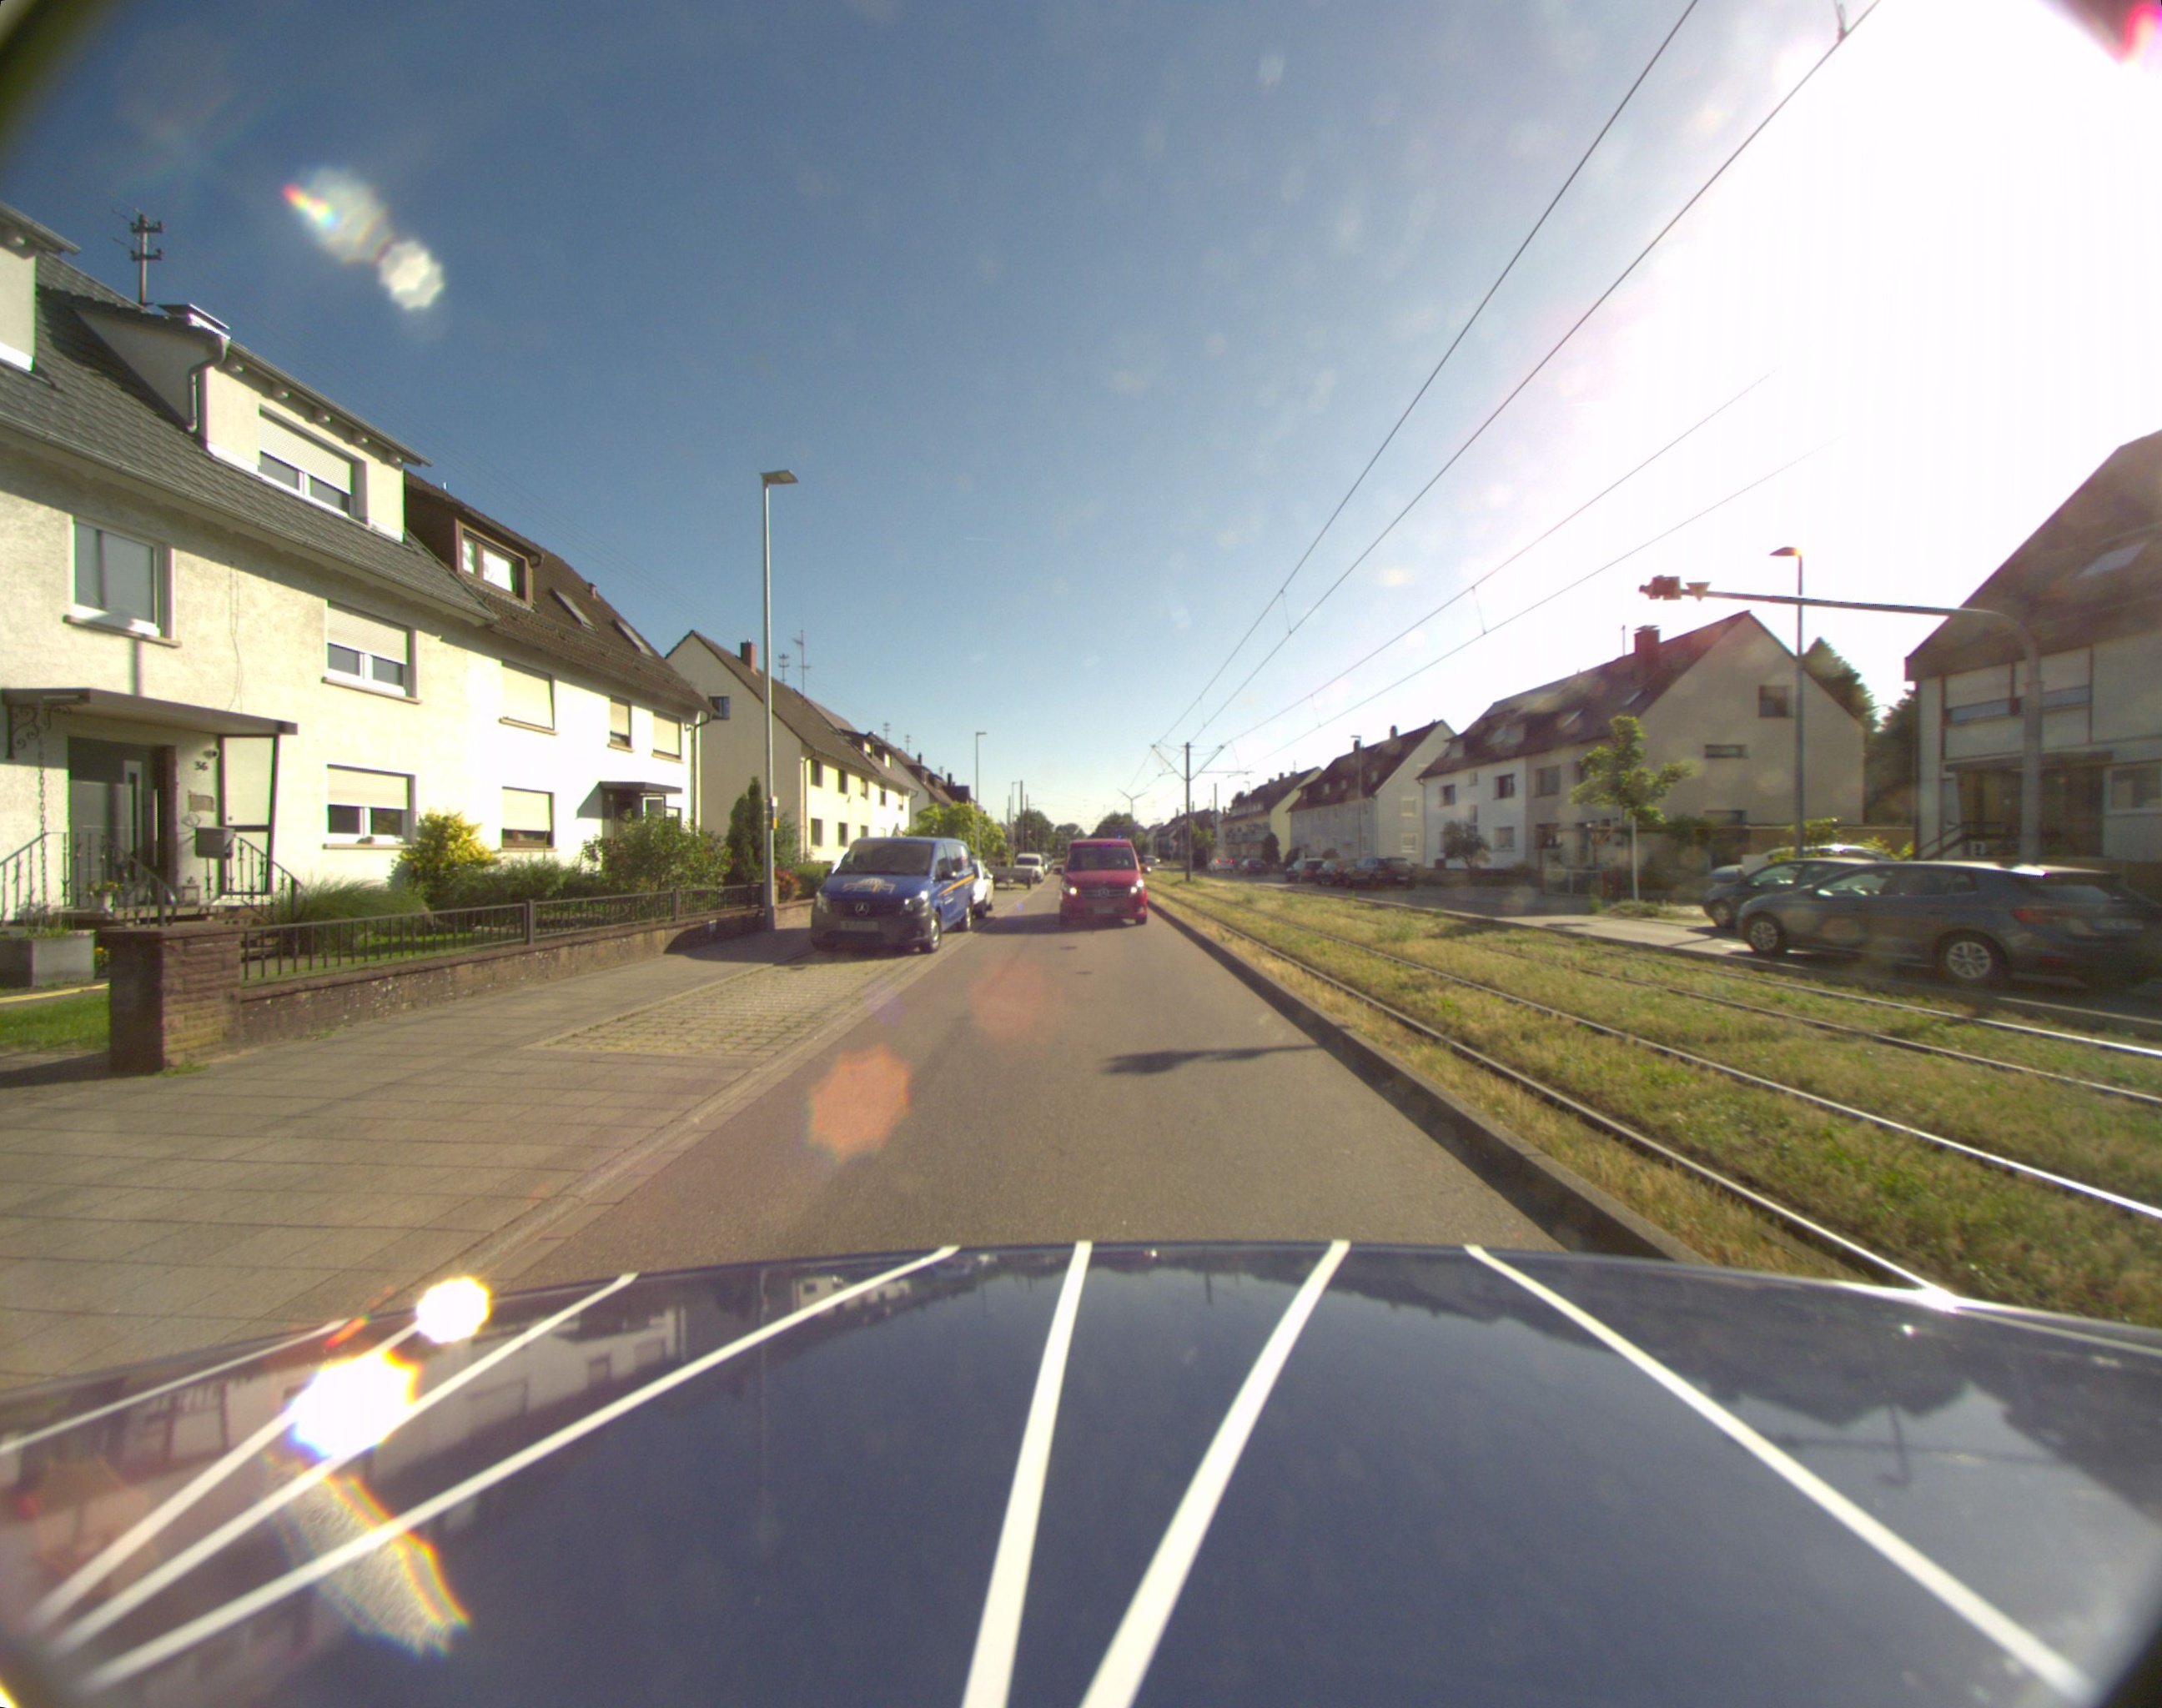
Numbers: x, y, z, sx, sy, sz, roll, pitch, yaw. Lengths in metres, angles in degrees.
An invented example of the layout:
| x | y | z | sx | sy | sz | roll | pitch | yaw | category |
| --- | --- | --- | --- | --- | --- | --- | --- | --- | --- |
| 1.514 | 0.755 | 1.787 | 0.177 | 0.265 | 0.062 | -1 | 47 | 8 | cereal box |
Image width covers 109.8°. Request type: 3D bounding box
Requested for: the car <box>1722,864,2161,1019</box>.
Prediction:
| x | y | z | sx | sy | sz | roll | pitch | yaw | category |
| --- | --- | --- | --- | --- | --- | --- | --- | --- | --- |
| 10.882 | 0.934 | 9.819 | 1.693 | 1.467 | 4.083 | 2 | 1 | 0 | car |

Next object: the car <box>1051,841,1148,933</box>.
| x | y | z | sx | sy | sz | roll | pitch | yaw | category |
| --- | --- | --- | --- | --- | --- | --- | --- | --- | --- |
| 0.403 | 0.672 | 18.564 | 1.998 | 1.889 | 5.390 | -1 | 1 | 0 | car |

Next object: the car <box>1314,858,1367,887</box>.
| x | y | z | sx | sy | sz | roll | pitch | yaw | category |
| --- | --- | --- | --- | --- | --- | --- | --- | --- | --- |
| 13.971 | 0.968 | 41.162 | 1.469 | 1.459 | 3.999 | 0 | 0 | 0 | car |

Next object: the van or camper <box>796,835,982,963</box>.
| x | y | z | sx | sy | sz | roll | pitch | yaw | category |
| --- | --- | --- | --- | --- | --- | --- | --- | --- | --- |
| -3.160 | 0.638 | 13.855 | 1.954 | 1.836 | 5.582 | 1 | 1 | 0 | van or camper |

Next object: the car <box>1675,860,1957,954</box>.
| x | y | z | sx | sy | sz | roll | pitch | yaw | category |
| --- | --- | --- | --- | --- | --- | --- | --- | --- | --- |
| 13.931 | 0.913 | 14.791 | 1.623 | 1.503 | 4.085 | -2 | 0 | 2 | car |

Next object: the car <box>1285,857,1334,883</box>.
| x | y | z | sx | sy | sz | roll | pitch | yaw | category |
| --- | --- | --- | --- | --- | --- | --- | --- | --- | --- |
| 13.885 | 0.952 | 46.391 | 1.658 | 1.447 | 4.400 | -2 | 0 | 0 | car |

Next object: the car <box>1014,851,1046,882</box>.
| x | y | z | sx | sy | sz | roll | pitch | yaw | category |
| --- | --- | --- | --- | --- | --- | --- | --- | --- | --- |
| -3.113 | 0.737 | 47.210 | 1.796 | 1.752 | 4.583 | 2 | 0 | -2 | car |

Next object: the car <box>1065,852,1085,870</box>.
| x | y | z | sx | sy | sz | roll | pitch | yaw | category |
| --- | --- | --- | --- | --- | --- | --- | --- | --- | --- |
| -0.620 | 0.672 | 74.124 | 1.862 | 1.592 | 4.327 | 2 | 0 | -2 | car |

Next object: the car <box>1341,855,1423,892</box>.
| x | y | z | sx | sy | sz | roll | pitch | yaw | category |
| --- | --- | --- | --- | --- | --- | --- | --- | --- | --- |
| 14.076 | 0.857 | 35.882 | 1.925 | 1.551 | 4.858 | -2 | 1 | 0 | car |

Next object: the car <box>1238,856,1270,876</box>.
| x | y | z | sx | sy | sz | roll | pitch | yaw | category |
| --- | --- | --- | --- | --- | --- | --- | --- | --- | --- |
| 13.874 | 0.944 | 61.145 | 1.704 | 1.389 | 4.092 | -2 | 1 | 0 | car |

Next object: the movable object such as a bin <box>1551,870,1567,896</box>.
| x | y | z | sx | sy | sz | roll | pitch | yaw | category |
| --- | --- | --- | --- | --- | --- | --- | --- | --- | --- |
| 17.722 | 1.061 | 28.190 | 0.198 | 0.941 | 0.607 | -2 | -1 | 3 | movable object such as a bin |

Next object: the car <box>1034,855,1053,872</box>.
| x | y | z | sx | sy | sz | roll | pitch | yaw | category |
| --- | --- | --- | --- | --- | --- | --- | --- | --- | --- |
| -3.473 | 0.839 | 71.513 | 1.632 | 1.460 | 4.481 | 2 | 0 | -2 | car |

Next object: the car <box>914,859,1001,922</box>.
| x | y | z | sx | sy | sz | roll | pitch | yaw | category |
| --- | --- | --- | --- | --- | --- | --- | --- | --- | --- |
| -3.199 | 0.882 | 20.683 | 1.735 | 1.450 | 5.284 | 0 | 0 | -3 | car |

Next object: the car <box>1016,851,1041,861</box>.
| x | y | z | sx | sy | sz | roll | pitch | yaw | category |
| --- | --- | --- | --- | --- | --- | --- | --- | --- | --- |
| -8.495 | 0.279 | 122.492 | 3.728 | 1.555 | 1.706 | -2 | 1 | 6 | car |

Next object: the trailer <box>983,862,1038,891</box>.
| x | y | z | sx | sy | sz | roll | pitch | yaw | category |
| --- | --- | --- | --- | --- | --- | --- | --- | --- | --- |
| -3.286 | 1.021 | 36.843 | 2.278 | 1.124 | 6.434 | 2 | 0 | -2 | trailer |

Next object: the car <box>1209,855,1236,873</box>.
| x | y | z | sx | sy | sz | roll | pitch | yaw | category |
| --- | --- | --- | --- | --- | --- | --- | --- | --- | --- |
| 13.541 | 0.929 | 73.012 | 1.831 | 1.522 | 4.092 | -2 | 1 | 0 | car |

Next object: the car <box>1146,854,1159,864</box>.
| x | y | z | sx | sy | sz | roll | pitch | yaw | category |
| --- | --- | --- | --- | --- | --- | --- | --- | --- | --- |
| 10.959 | 0.753 | 116.922 | 1.704 | 1.455 | 4.092 | -2 | 1 | 0 | car |

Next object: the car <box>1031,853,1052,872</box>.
| x | y | z | sx | sy | sz | roll | pitch | yaw | category |
| --- | --- | --- | --- | --- | --- | --- | --- | --- | --- |
| -3.381 | 0.680 | 65.515 | 1.682 | 1.471 | 4.388 | 2 | 0 | -2 | car |

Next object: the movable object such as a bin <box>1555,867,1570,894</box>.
| x | y | z | sx | sy | sz | roll | pitch | yaw | category |
| --- | --- | --- | --- | --- | --- | --- | --- | --- | --- |
| 18.381 | 1.009 | 29.014 | 0.198 | 1.007 | 0.607 | -2 | -1 | 3 | movable object such as a bin |

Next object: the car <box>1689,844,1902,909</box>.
| x | y | z | sx | sy | sz | roll | pitch | yaw | category |
| --- | --- | --- | --- | --- | --- | --- | --- | --- | --- |
| 20.903 | 0.643 | 22.387 | 4.403 | 1.773 | 1.970 | 0 | 0 | 1 | car |
